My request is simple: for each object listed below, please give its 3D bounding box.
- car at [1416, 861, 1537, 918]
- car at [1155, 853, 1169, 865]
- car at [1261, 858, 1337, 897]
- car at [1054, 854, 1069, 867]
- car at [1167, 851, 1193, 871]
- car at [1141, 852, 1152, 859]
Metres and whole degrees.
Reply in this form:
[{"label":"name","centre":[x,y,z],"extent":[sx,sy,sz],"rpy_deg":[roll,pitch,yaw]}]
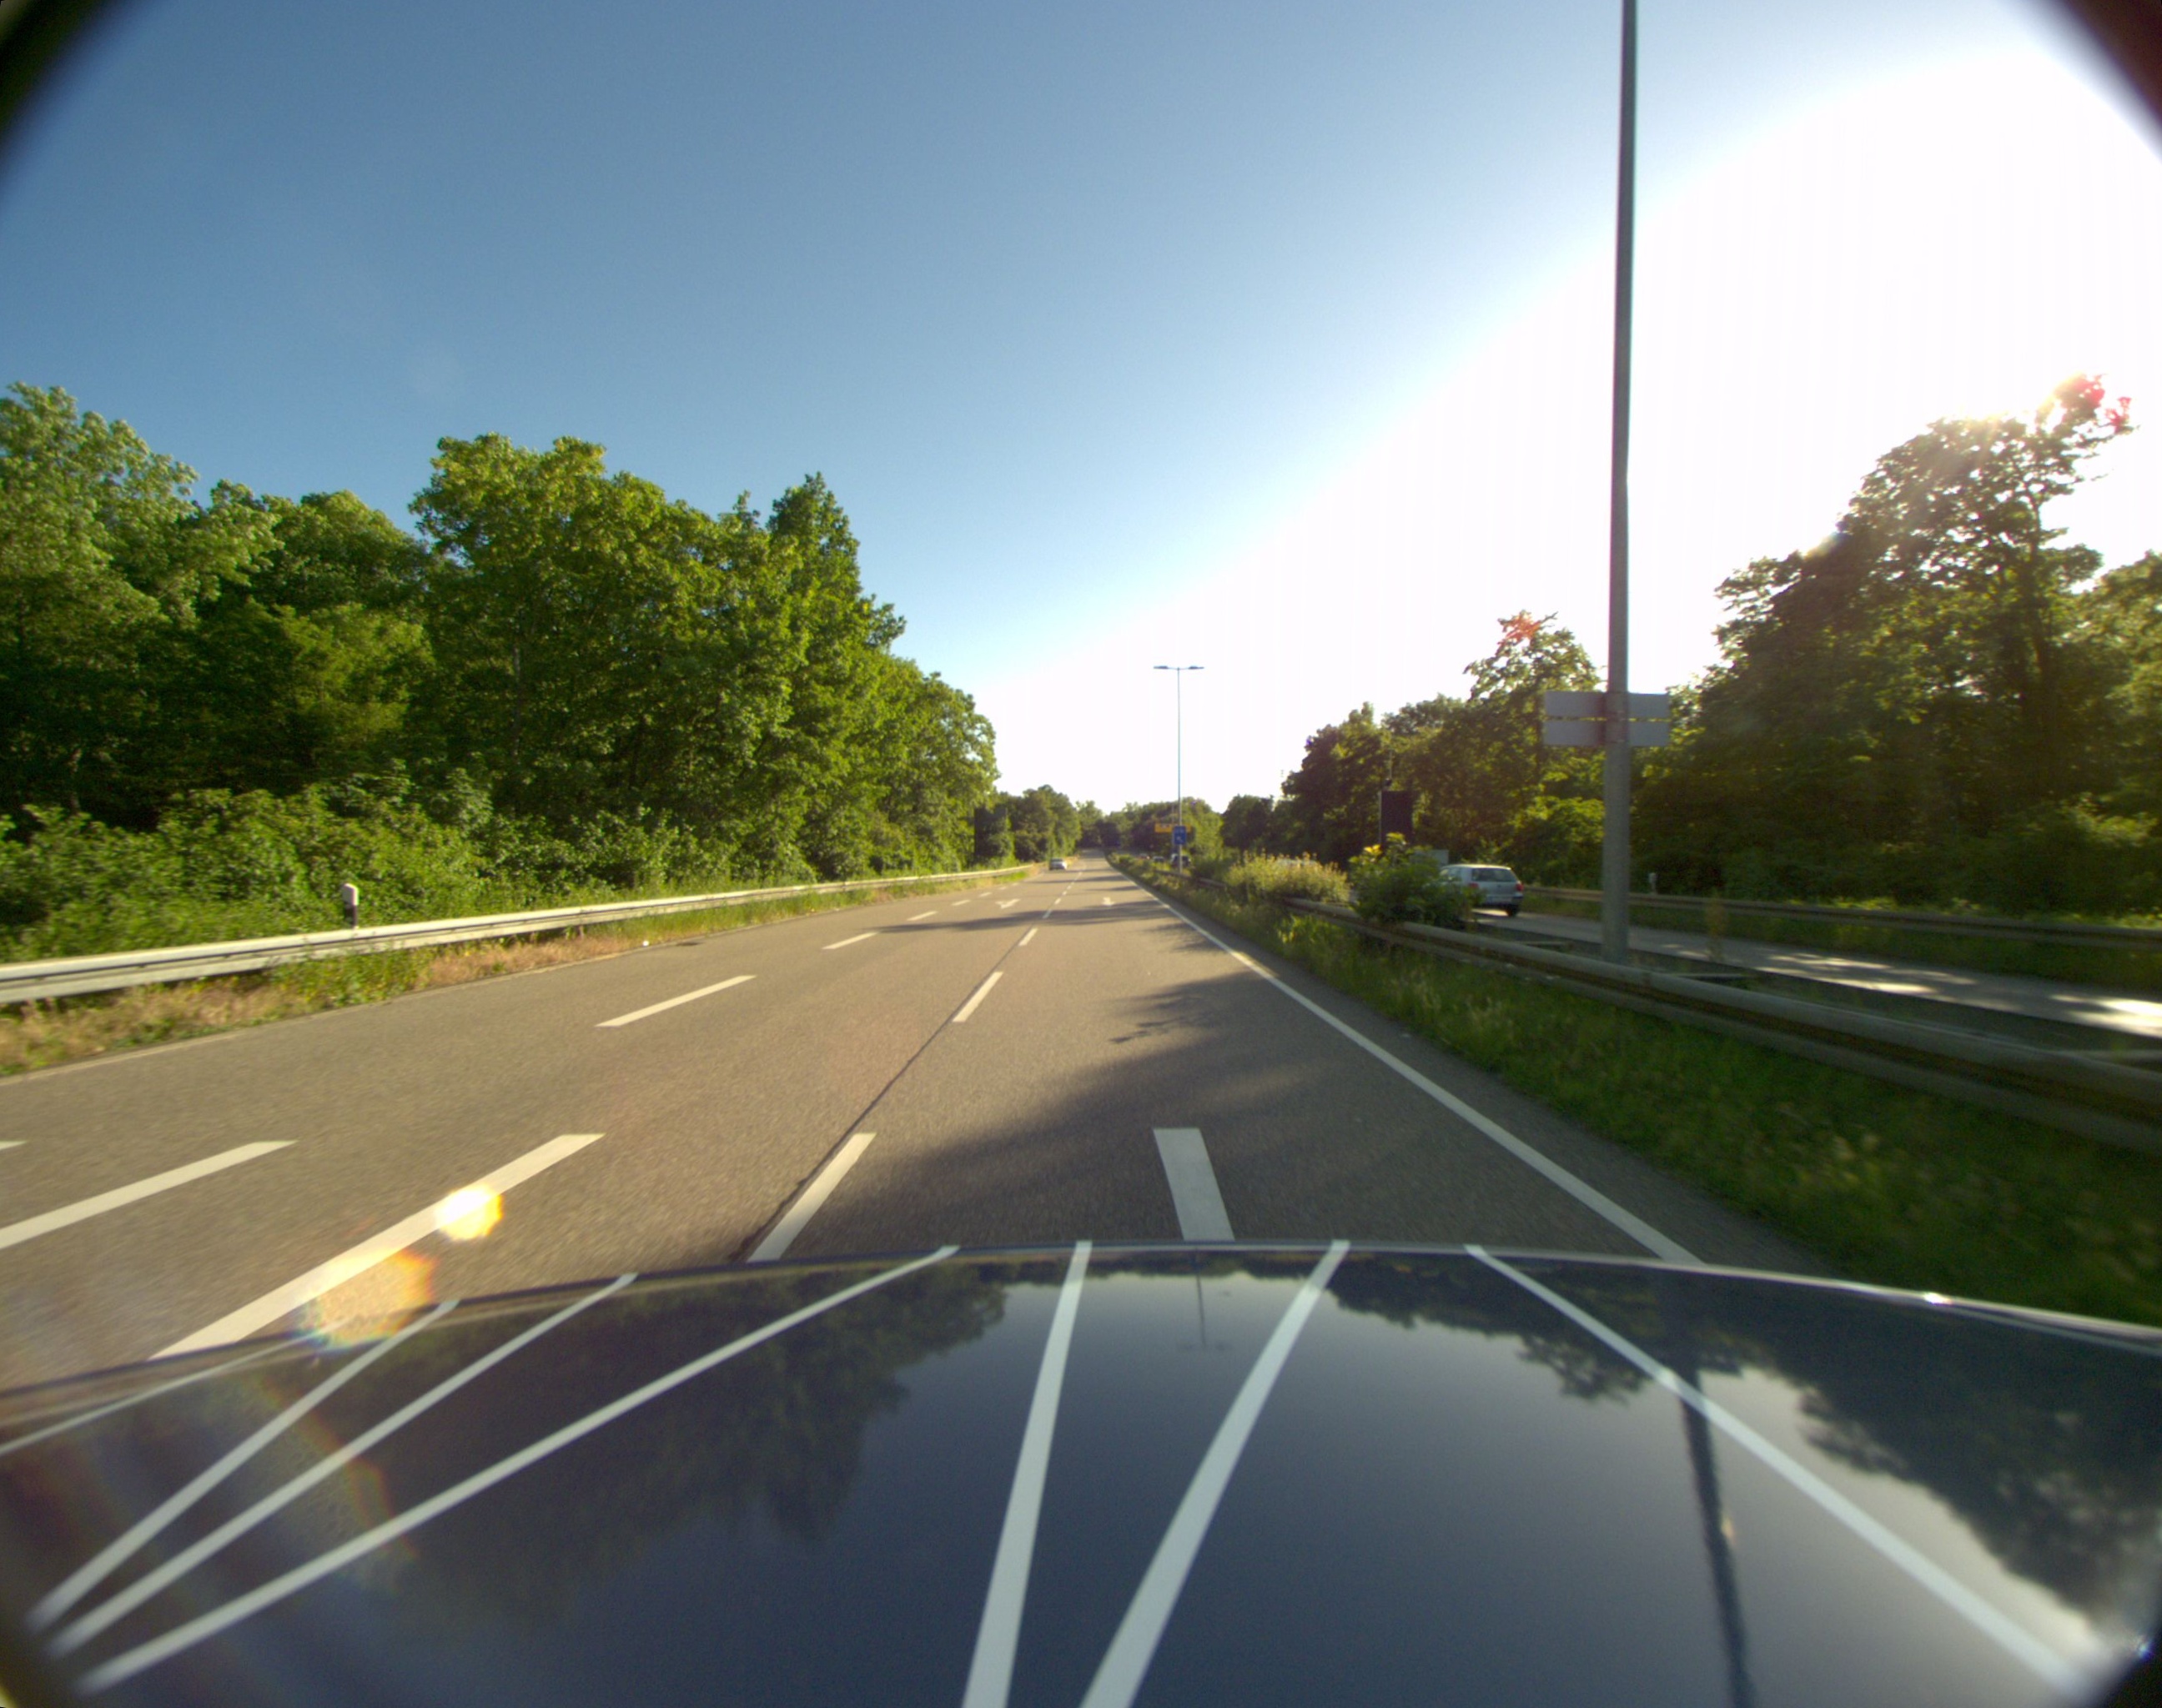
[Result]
[{"label":"car","centre":[11.490,0.970,22.373],"extent":[1.755,1.441,3.715],"rpy_deg":[2,0,3]},{"label":"car","centre":[10.490,0.678,98.587],"extent":[1.622,1.521,4.609],"rpy_deg":[0,0,3]},{"label":"car","centre":[8.768,0.910,30.944],"extent":[1.756,1.441,4.432],"rpy_deg":[0,0,-1]},{"label":"car","centre":[-2.260,0.751,90.126],"extent":[1.682,1.477,3.390],"rpy_deg":[1,0,0]},{"label":"car","centre":[9.216,0.637,70.895],"extent":[1.846,1.747,4.712],"rpy_deg":[0,0,1]},{"label":"car","centre":[11.877,0.260,138.413],"extent":[1.785,1.395,4.553],"rpy_deg":[0,0,3]}]
